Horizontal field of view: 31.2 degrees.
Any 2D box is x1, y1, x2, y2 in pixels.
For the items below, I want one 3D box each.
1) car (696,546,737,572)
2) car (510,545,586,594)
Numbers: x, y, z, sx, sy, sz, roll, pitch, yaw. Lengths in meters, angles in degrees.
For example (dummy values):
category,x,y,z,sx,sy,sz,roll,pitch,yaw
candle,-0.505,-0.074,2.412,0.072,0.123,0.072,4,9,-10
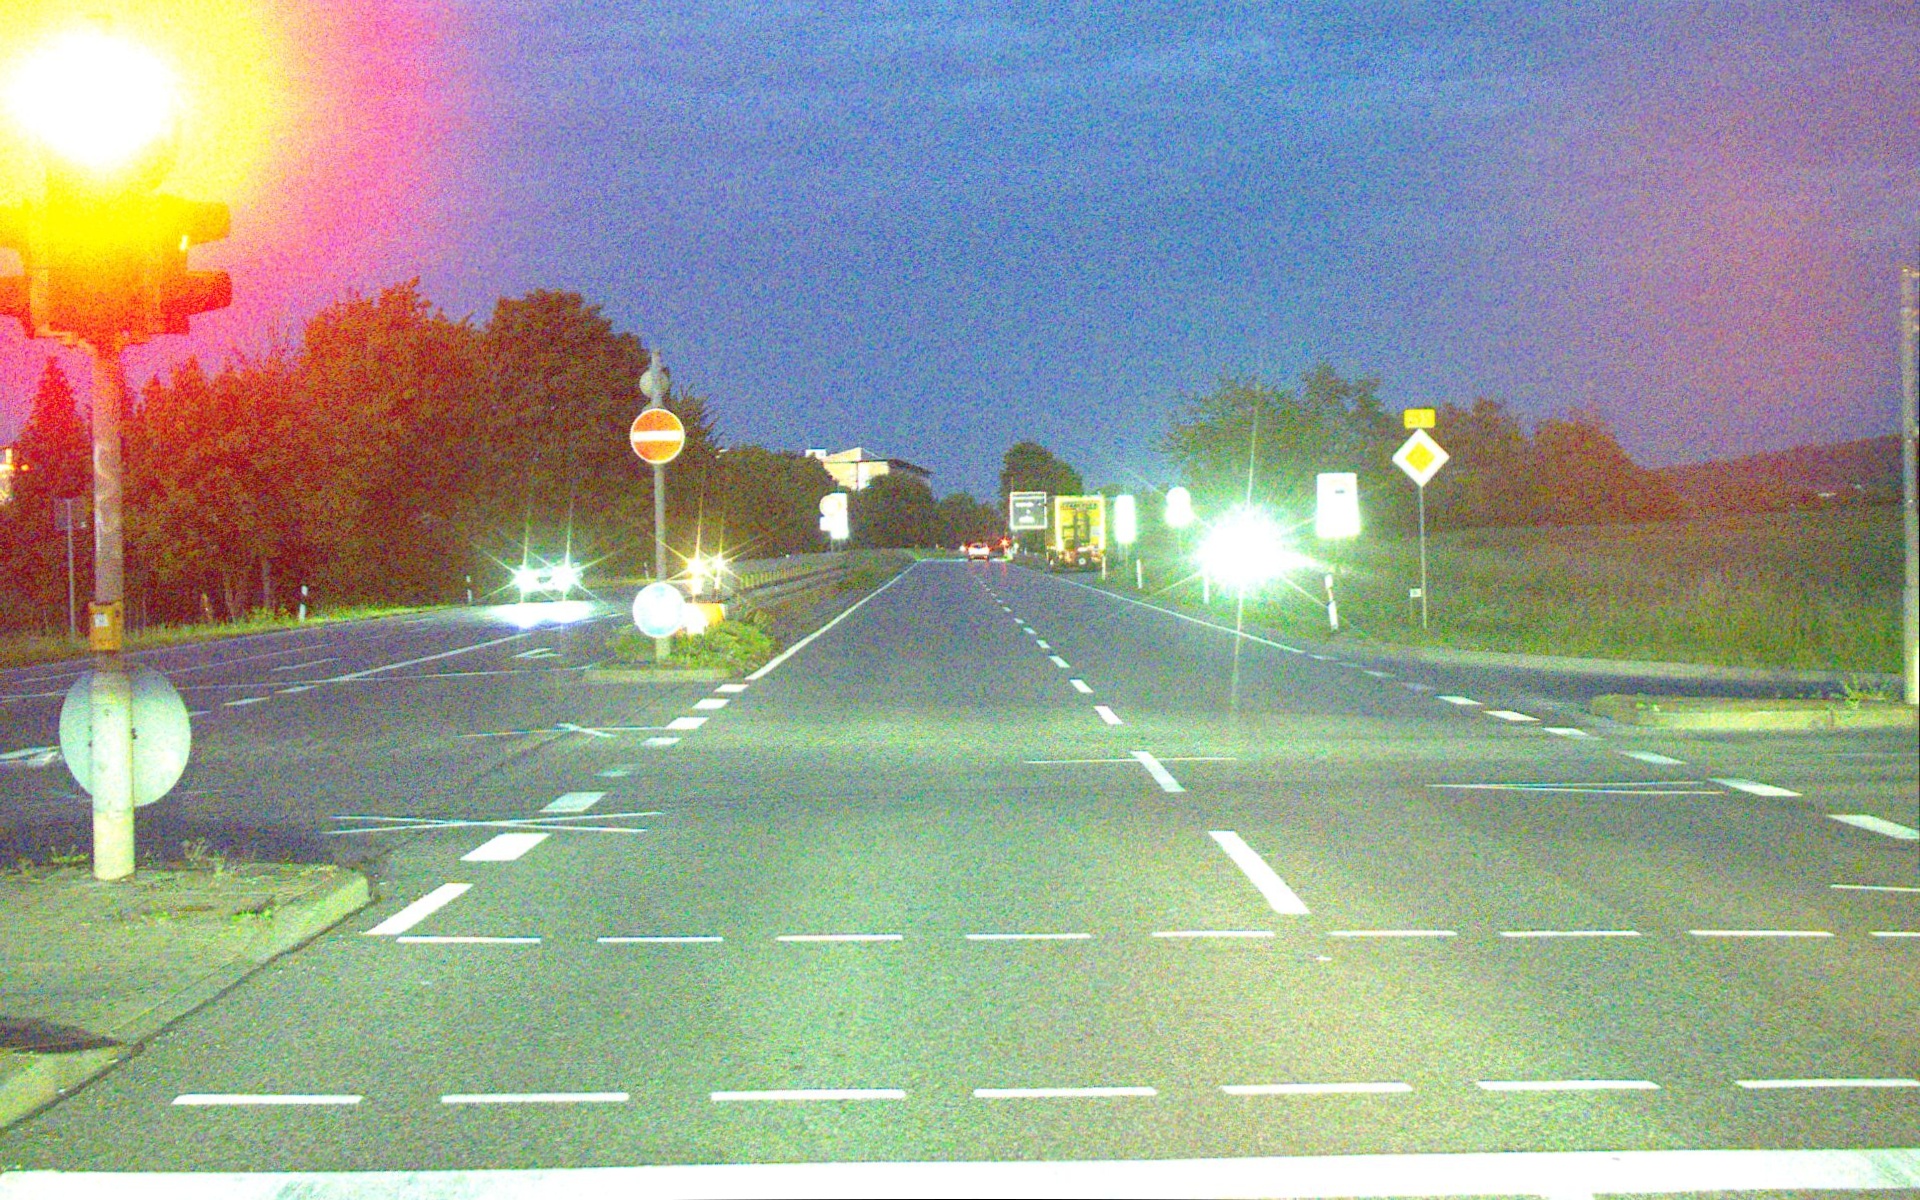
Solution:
category,x,y,z,sx,sy,sz,roll,pitch,yaw
car,-13.537,-2.308,191.281,1.993,1.382,4.000,-1,1,-1
car,-13.527,-1.025,113.076,1.993,1.514,4.298,-1,1,-1
